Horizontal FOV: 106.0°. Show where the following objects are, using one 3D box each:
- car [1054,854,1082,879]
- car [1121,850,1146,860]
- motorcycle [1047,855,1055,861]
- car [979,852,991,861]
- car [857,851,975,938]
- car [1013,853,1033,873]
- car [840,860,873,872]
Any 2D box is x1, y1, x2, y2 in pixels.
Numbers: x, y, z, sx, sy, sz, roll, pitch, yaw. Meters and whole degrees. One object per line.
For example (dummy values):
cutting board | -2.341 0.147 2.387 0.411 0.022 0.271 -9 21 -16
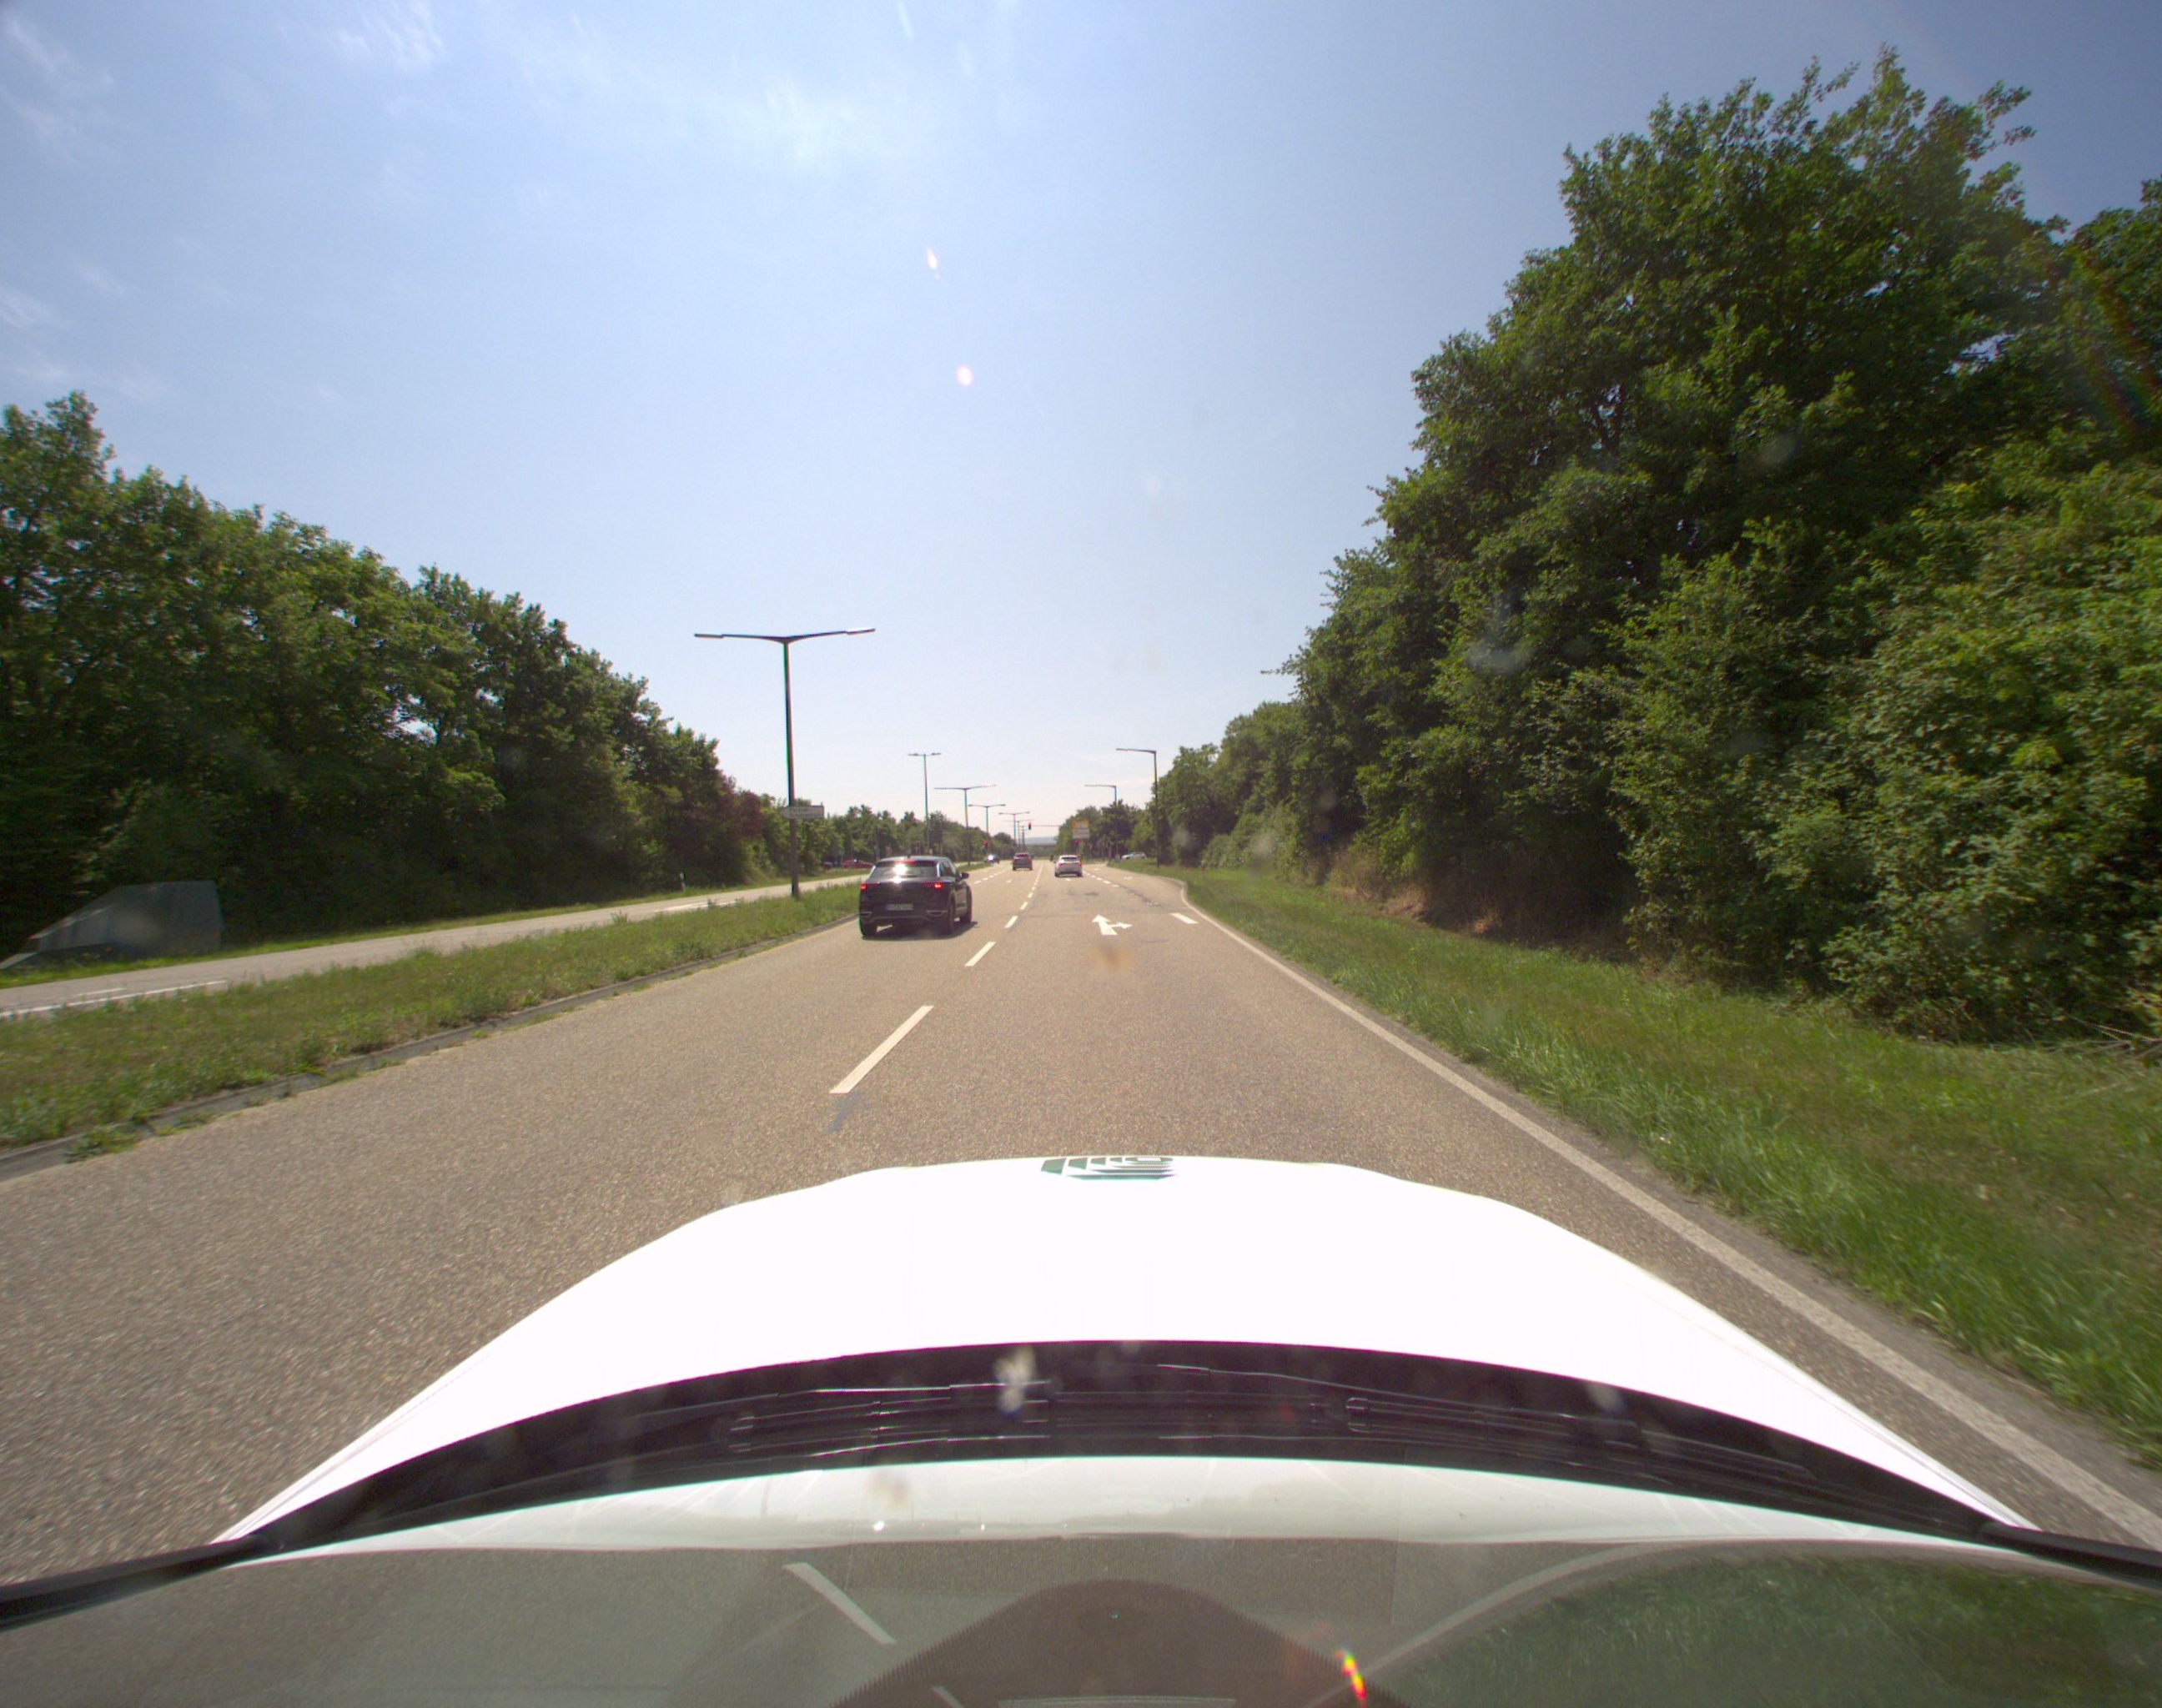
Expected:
car | -0.854 0.810 55.269 1.792 1.583 3.998 -2 0 -1
car | 9.214 0.153 143.268 4.102 1.525 1.931 -2 0 -11
motorcycle | -6.394 0.836 173.334 1.421 1.281 2.566 -3 0 -3
car | -18.199 0.487 154.698 1.822 1.519 3.999 -1 0 0
car | -3.334 0.760 17.143 1.751 1.556 3.997 -2 0 -2
car | -5.740 0.872 80.407 1.751 1.929 3.997 -2 0 -2
car | -33.565 1.797 121.919 4.523 1.641 1.971 -1 0 -10
